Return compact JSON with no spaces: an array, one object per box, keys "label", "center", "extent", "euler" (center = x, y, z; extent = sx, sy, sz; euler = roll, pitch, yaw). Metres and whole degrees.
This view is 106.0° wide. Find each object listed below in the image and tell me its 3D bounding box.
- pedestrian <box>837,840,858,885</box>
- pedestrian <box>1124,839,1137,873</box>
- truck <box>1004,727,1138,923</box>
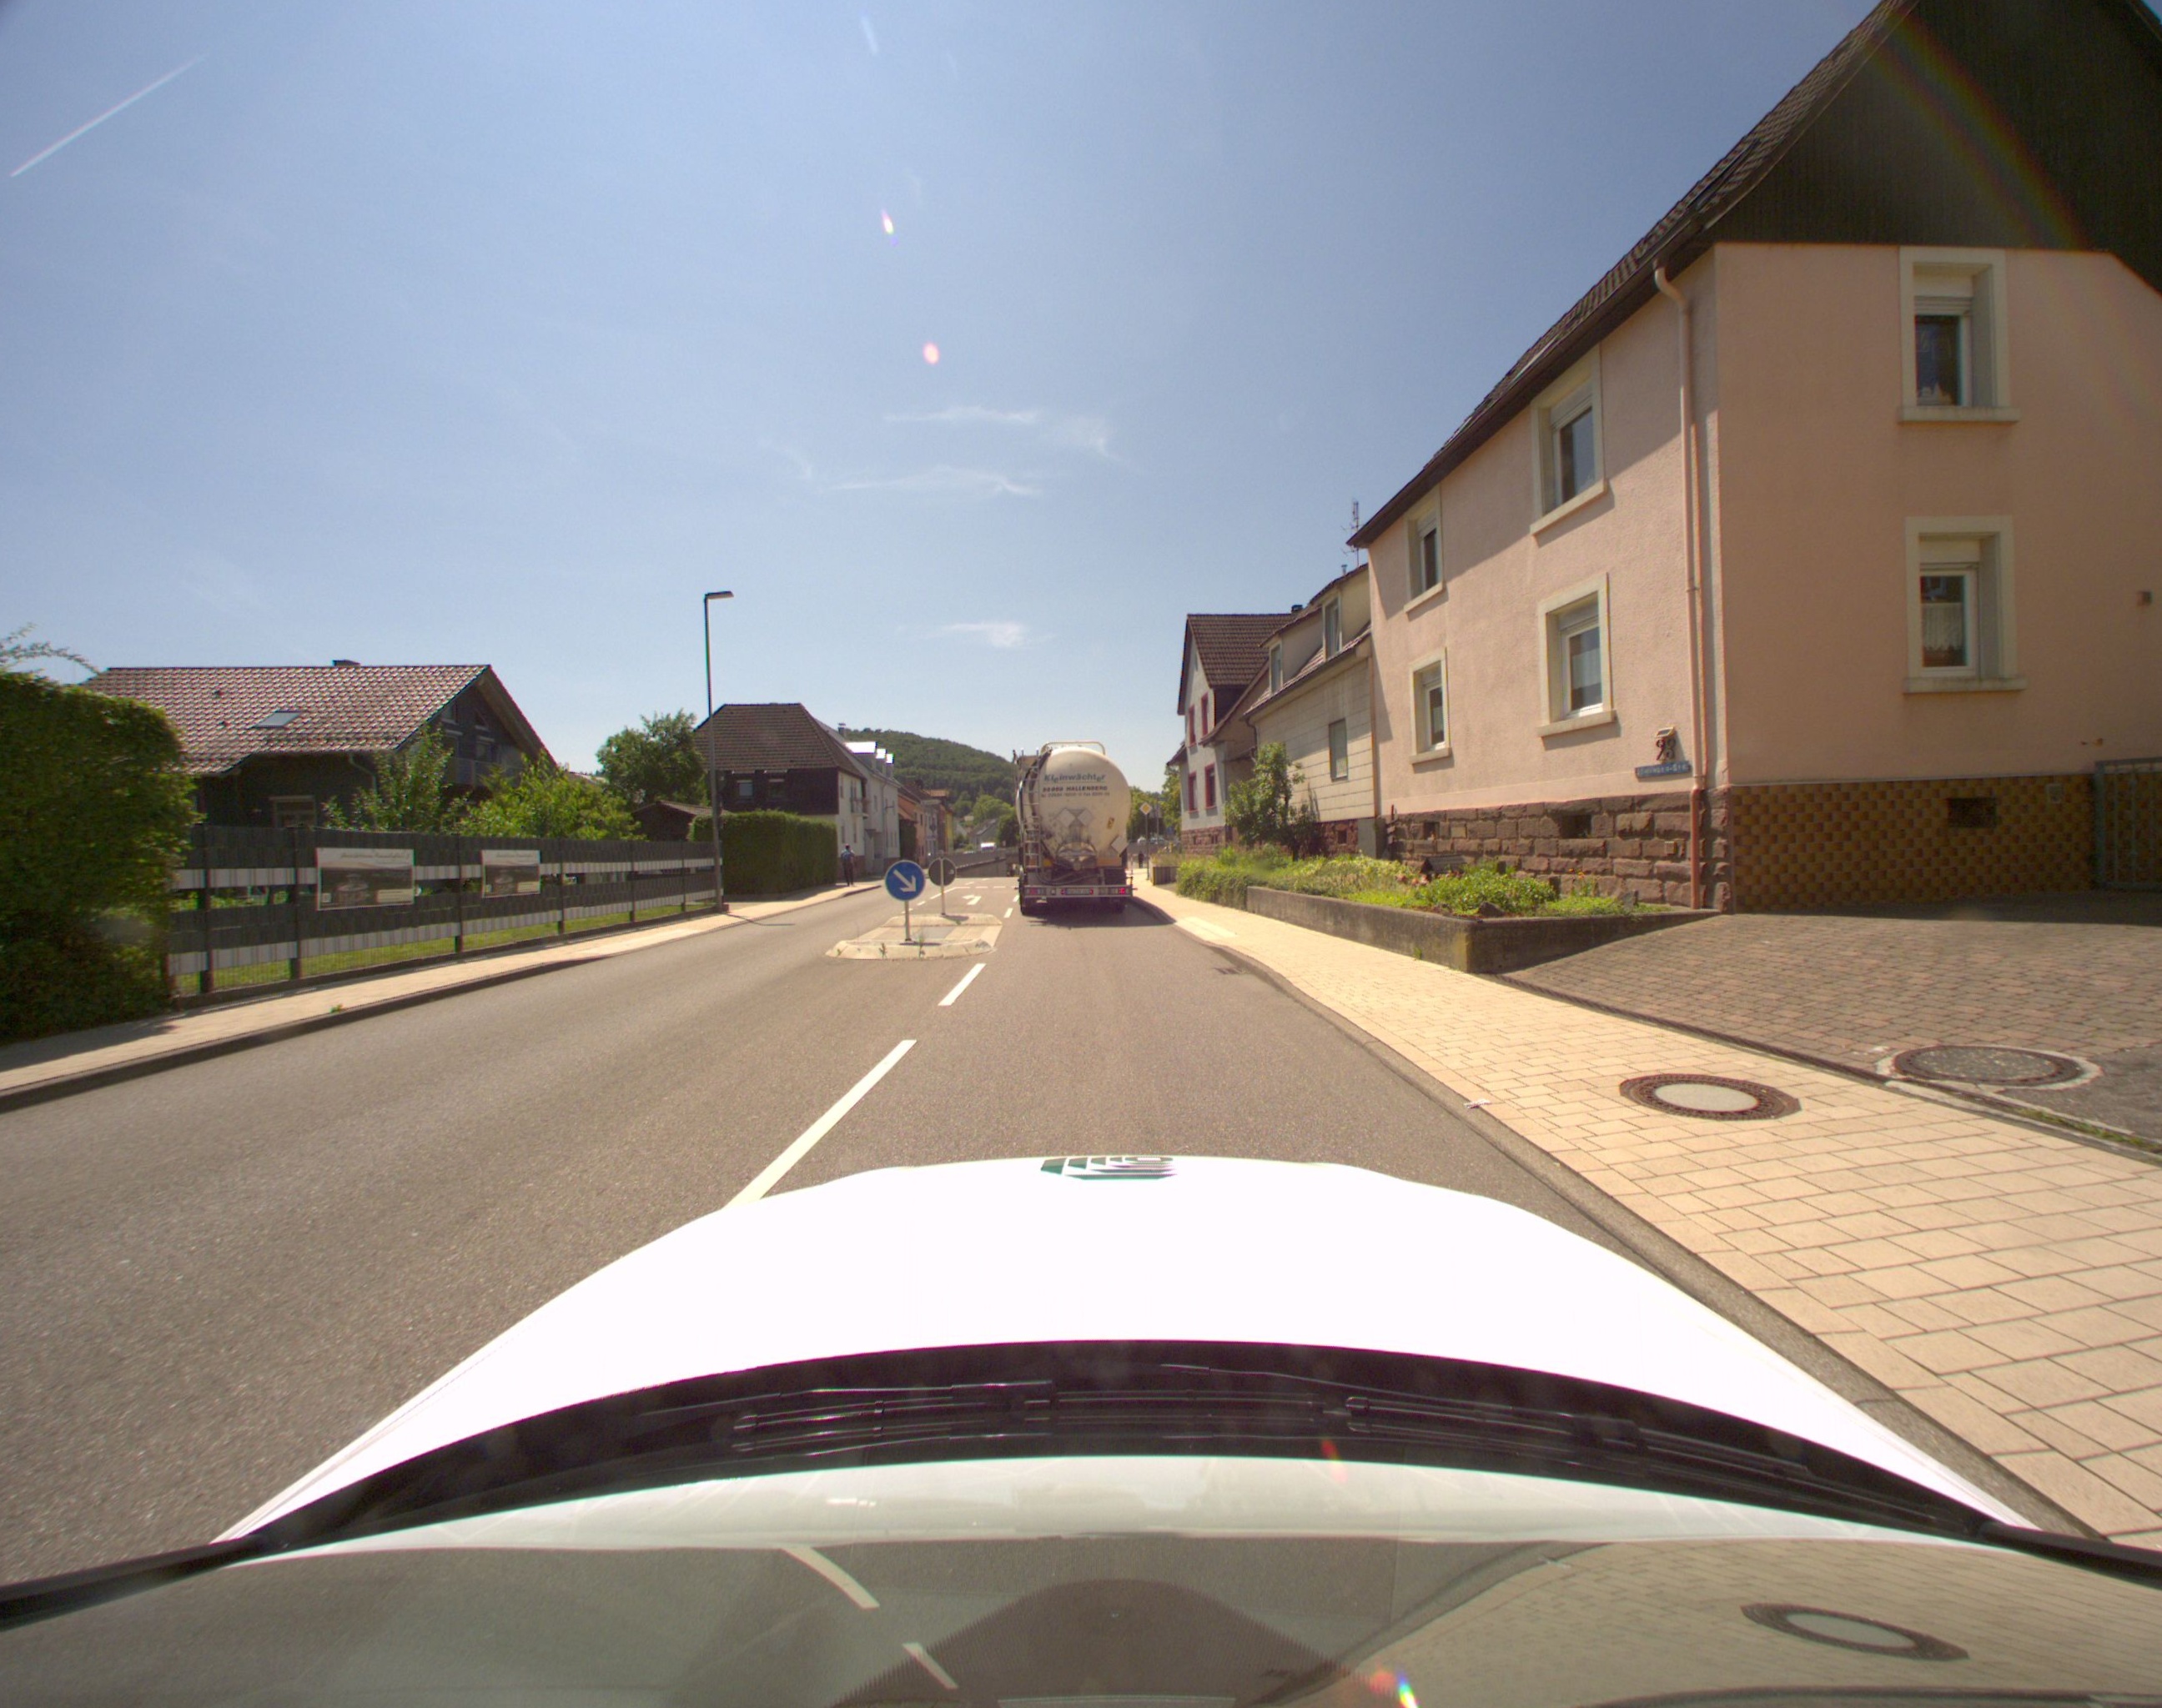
[{"label":"pedestrian","center":[-9.723,0.362,33.894],"extent":[0.712,1.823,0.896],"euler":[0,-1,-8]},{"label":"pedestrian","center":[2.444,0.097,40.447],"extent":[0.569,1.693,0.721],"euler":[0,-1,0]},{"label":"truck","center":[-0.616,-0.648,22.394],"extent":[2.745,4.056,10.872],"euler":[-1,0,-4]}]
